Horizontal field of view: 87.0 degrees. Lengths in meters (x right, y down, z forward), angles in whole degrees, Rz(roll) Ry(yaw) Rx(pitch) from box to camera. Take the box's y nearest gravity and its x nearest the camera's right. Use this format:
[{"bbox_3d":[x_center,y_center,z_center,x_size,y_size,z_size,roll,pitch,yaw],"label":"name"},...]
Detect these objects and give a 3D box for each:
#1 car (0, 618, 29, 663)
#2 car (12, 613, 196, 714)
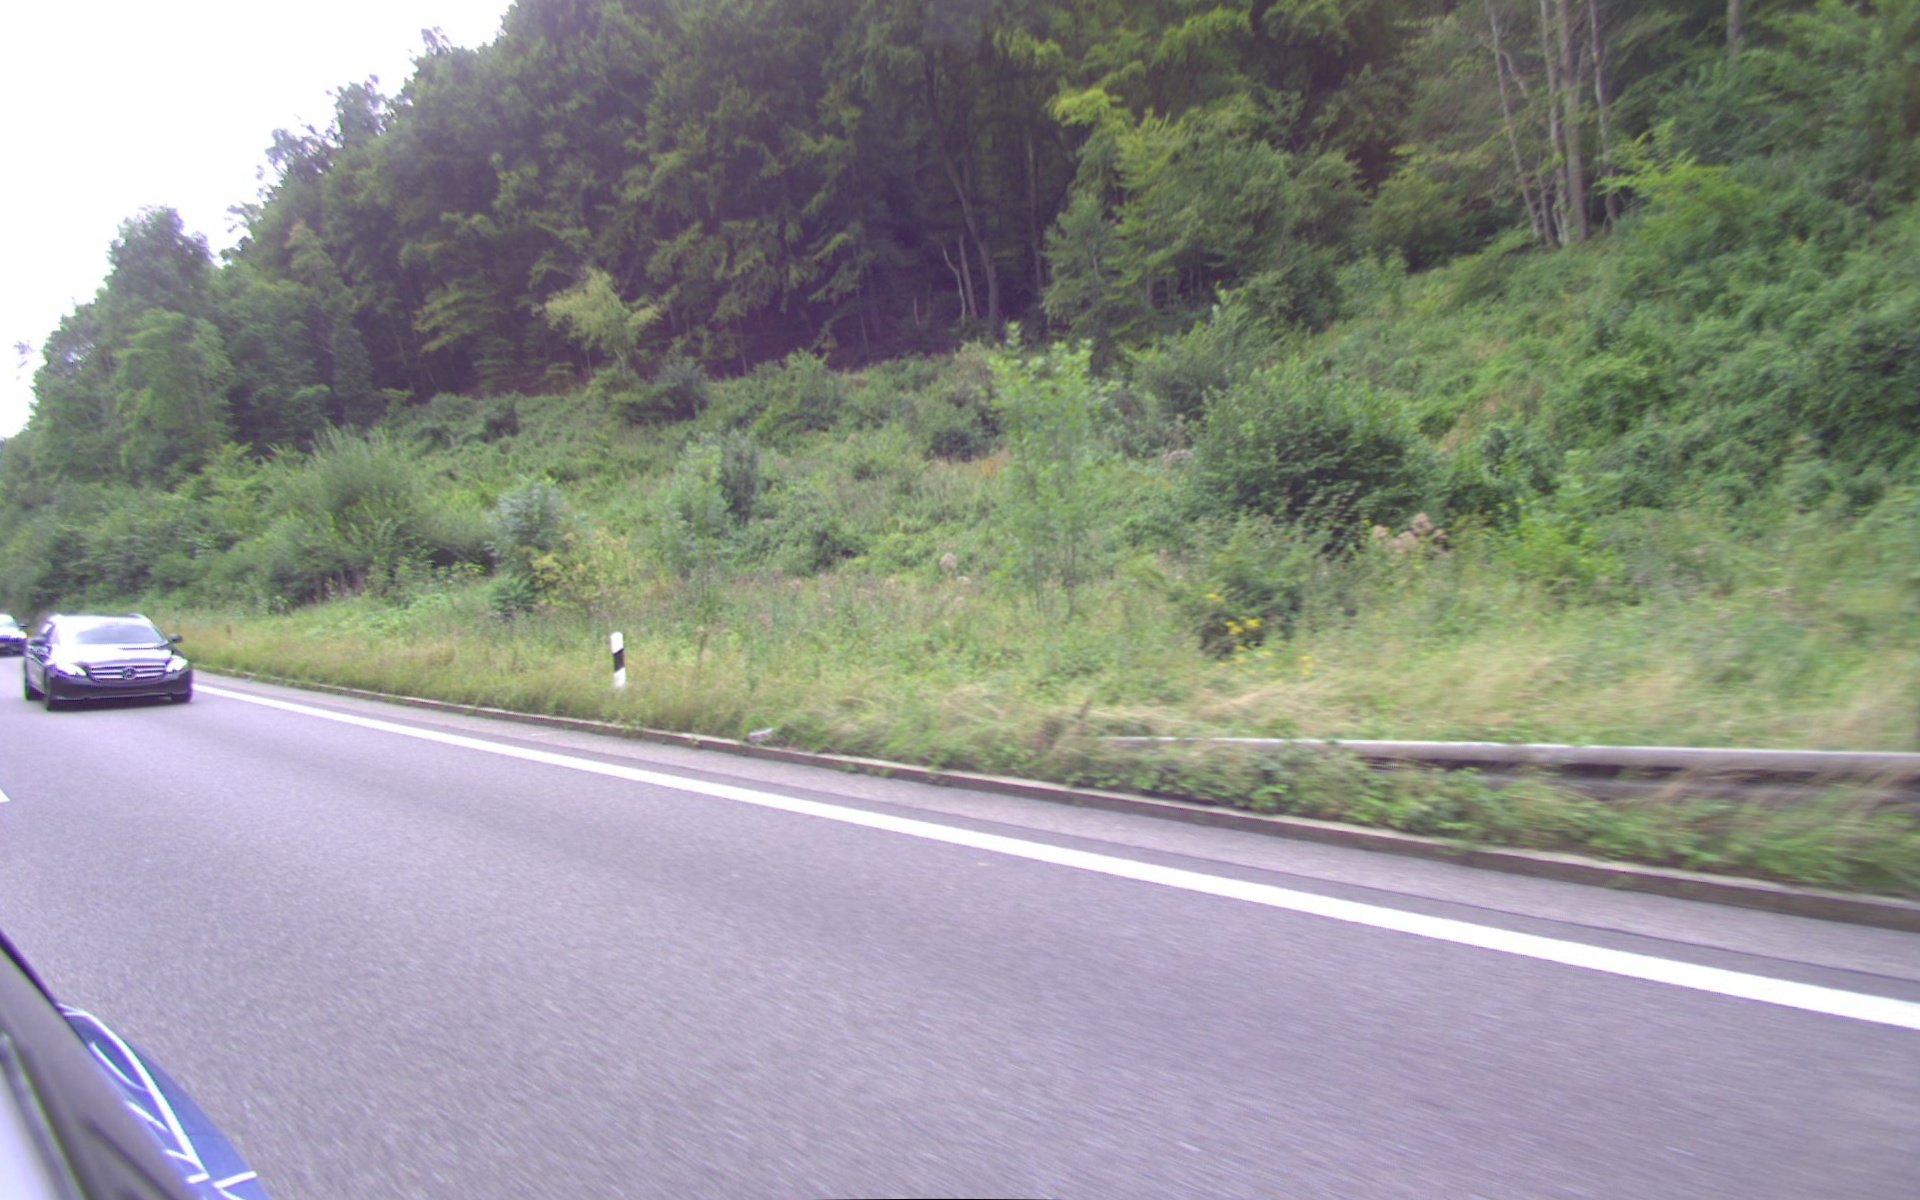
[{"bbox_3d":[-33.797,1.379,34.896,4.550,1.480,1.818,-1,-1,39],"label":"car"},{"bbox_3d":[-14.602,0.998,17.157,5.121,1.474,1.742,-2,-2,42],"label":"car"}]
